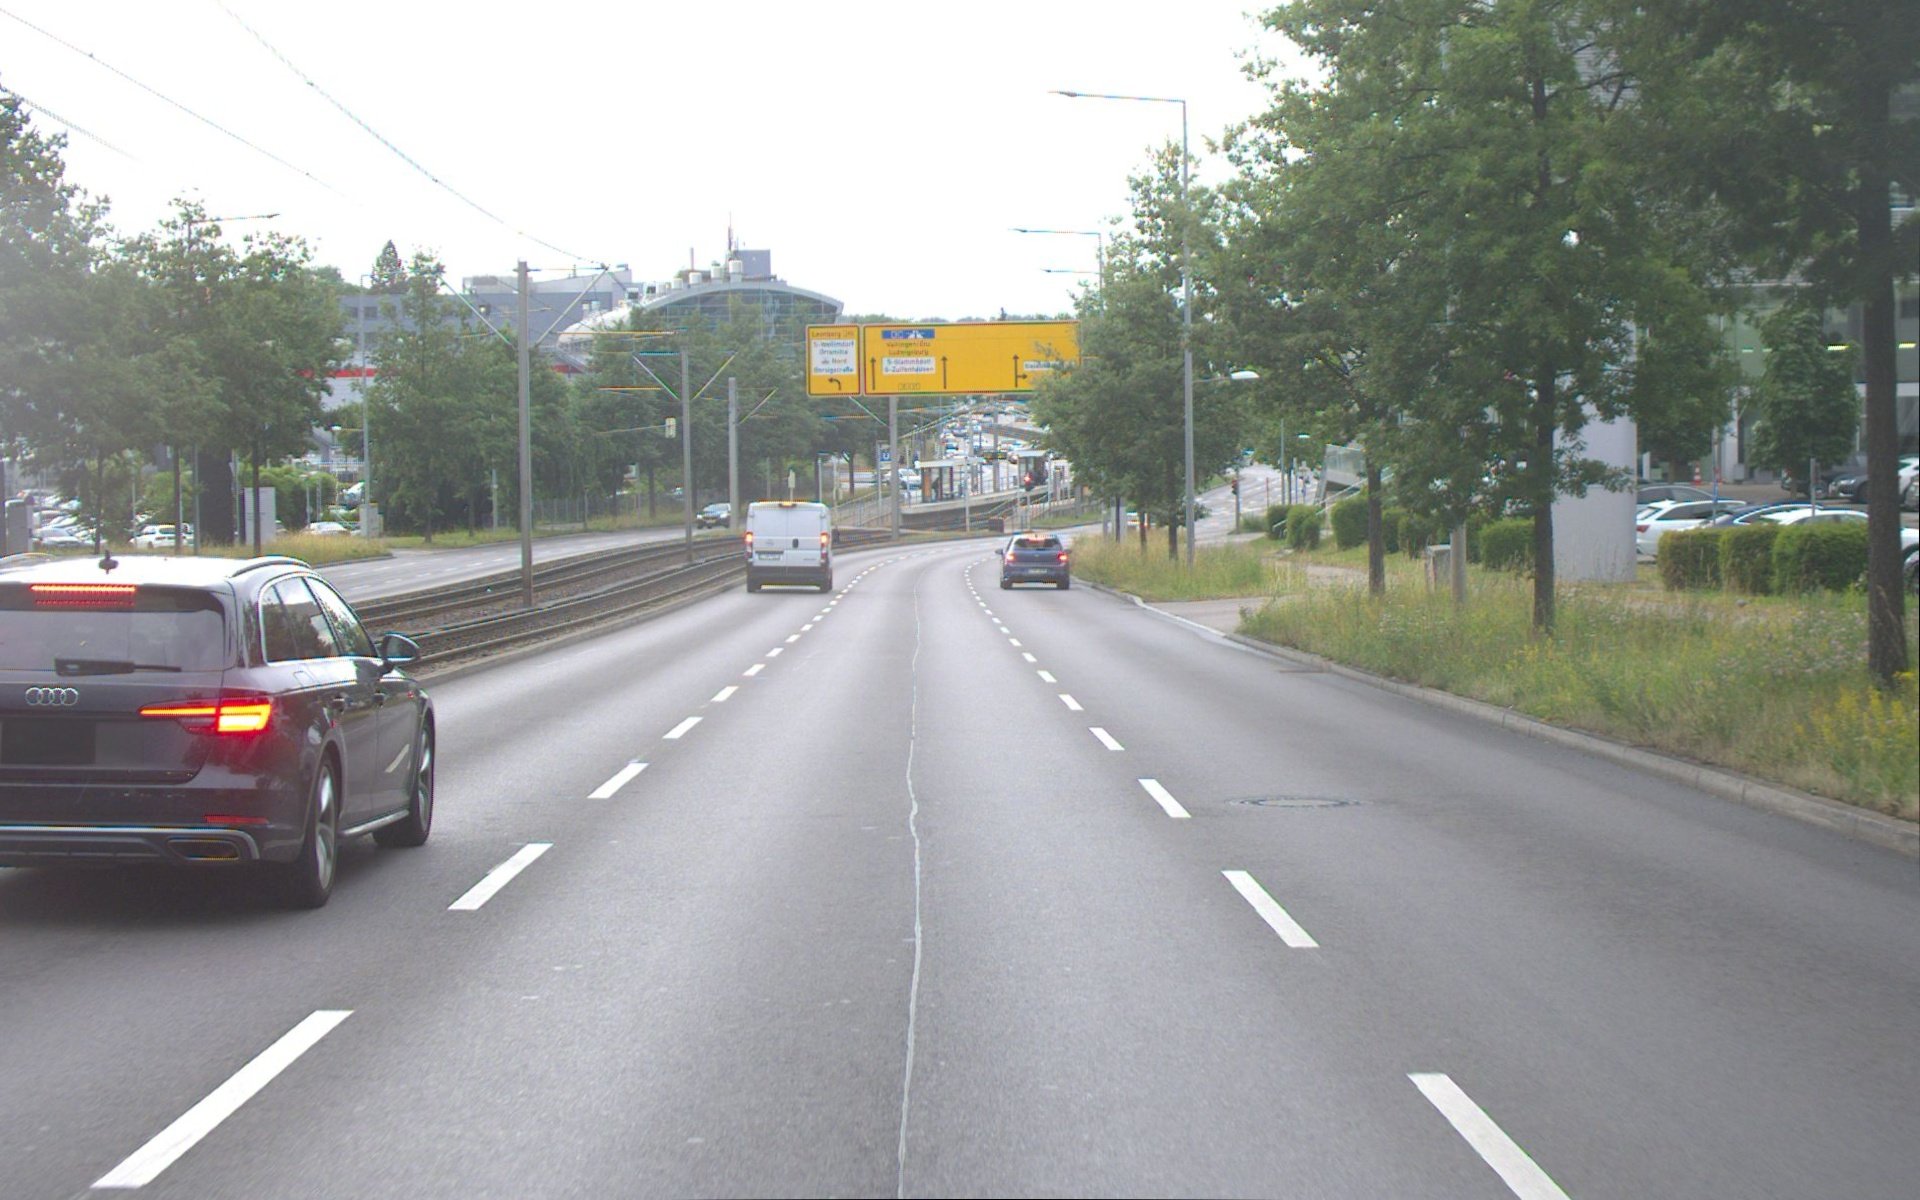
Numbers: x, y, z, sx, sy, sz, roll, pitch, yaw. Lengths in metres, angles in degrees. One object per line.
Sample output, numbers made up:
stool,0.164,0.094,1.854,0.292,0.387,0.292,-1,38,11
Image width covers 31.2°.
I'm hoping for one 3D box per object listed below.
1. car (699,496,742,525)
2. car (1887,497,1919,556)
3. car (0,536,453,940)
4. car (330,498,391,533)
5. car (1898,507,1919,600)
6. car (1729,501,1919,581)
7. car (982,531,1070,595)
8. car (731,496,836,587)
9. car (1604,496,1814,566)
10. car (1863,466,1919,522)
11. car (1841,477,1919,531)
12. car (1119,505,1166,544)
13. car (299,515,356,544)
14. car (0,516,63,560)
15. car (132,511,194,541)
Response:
car,-13.504,-5.054,193.787,1.883,1.515,4.403,-3,2,2
car,27.393,-1.993,92.989,4.105,1.568,1.826,0,2,-1
car,-3.429,0.472,15.093,1.764,1.458,4.627,1,1,-1
car,-29.586,-4.155,169.761,1.994,1.645,3.999,1,1,4
car,18.204,-0.811,58.287,1.832,1.588,4.360,-1,1,-32
car,18.096,-1.191,70.494,4.104,1.588,1.949,0,0,-9
car,1.736,-0.980,91.446,2.021,1.617,4.001,1,1,-3
car,-4.433,-1.450,86.406,2.511,2.169,5.150,1,1,-3
car,17.481,-1.596,80.360,4.519,1.588,1.693,0,0,-1
car,28.118,-3.025,98.266,4.105,1.568,1.693,0,2,-1
car,28.468,-2.851,102.111,4.105,1.568,1.760,0,2,-1
car,9.329,-3.885,175.999,2.021,1.763,4.001,0,4,-2
car,-34.026,-3.789,184.791,1.993,1.505,4.001,1,1,-26
car,-38.681,-2.550,139.861,3.986,1.744,2.001,1,1,-6
car,-42.058,-3.922,181.440,1.993,1.505,4.000,1,1,-32
